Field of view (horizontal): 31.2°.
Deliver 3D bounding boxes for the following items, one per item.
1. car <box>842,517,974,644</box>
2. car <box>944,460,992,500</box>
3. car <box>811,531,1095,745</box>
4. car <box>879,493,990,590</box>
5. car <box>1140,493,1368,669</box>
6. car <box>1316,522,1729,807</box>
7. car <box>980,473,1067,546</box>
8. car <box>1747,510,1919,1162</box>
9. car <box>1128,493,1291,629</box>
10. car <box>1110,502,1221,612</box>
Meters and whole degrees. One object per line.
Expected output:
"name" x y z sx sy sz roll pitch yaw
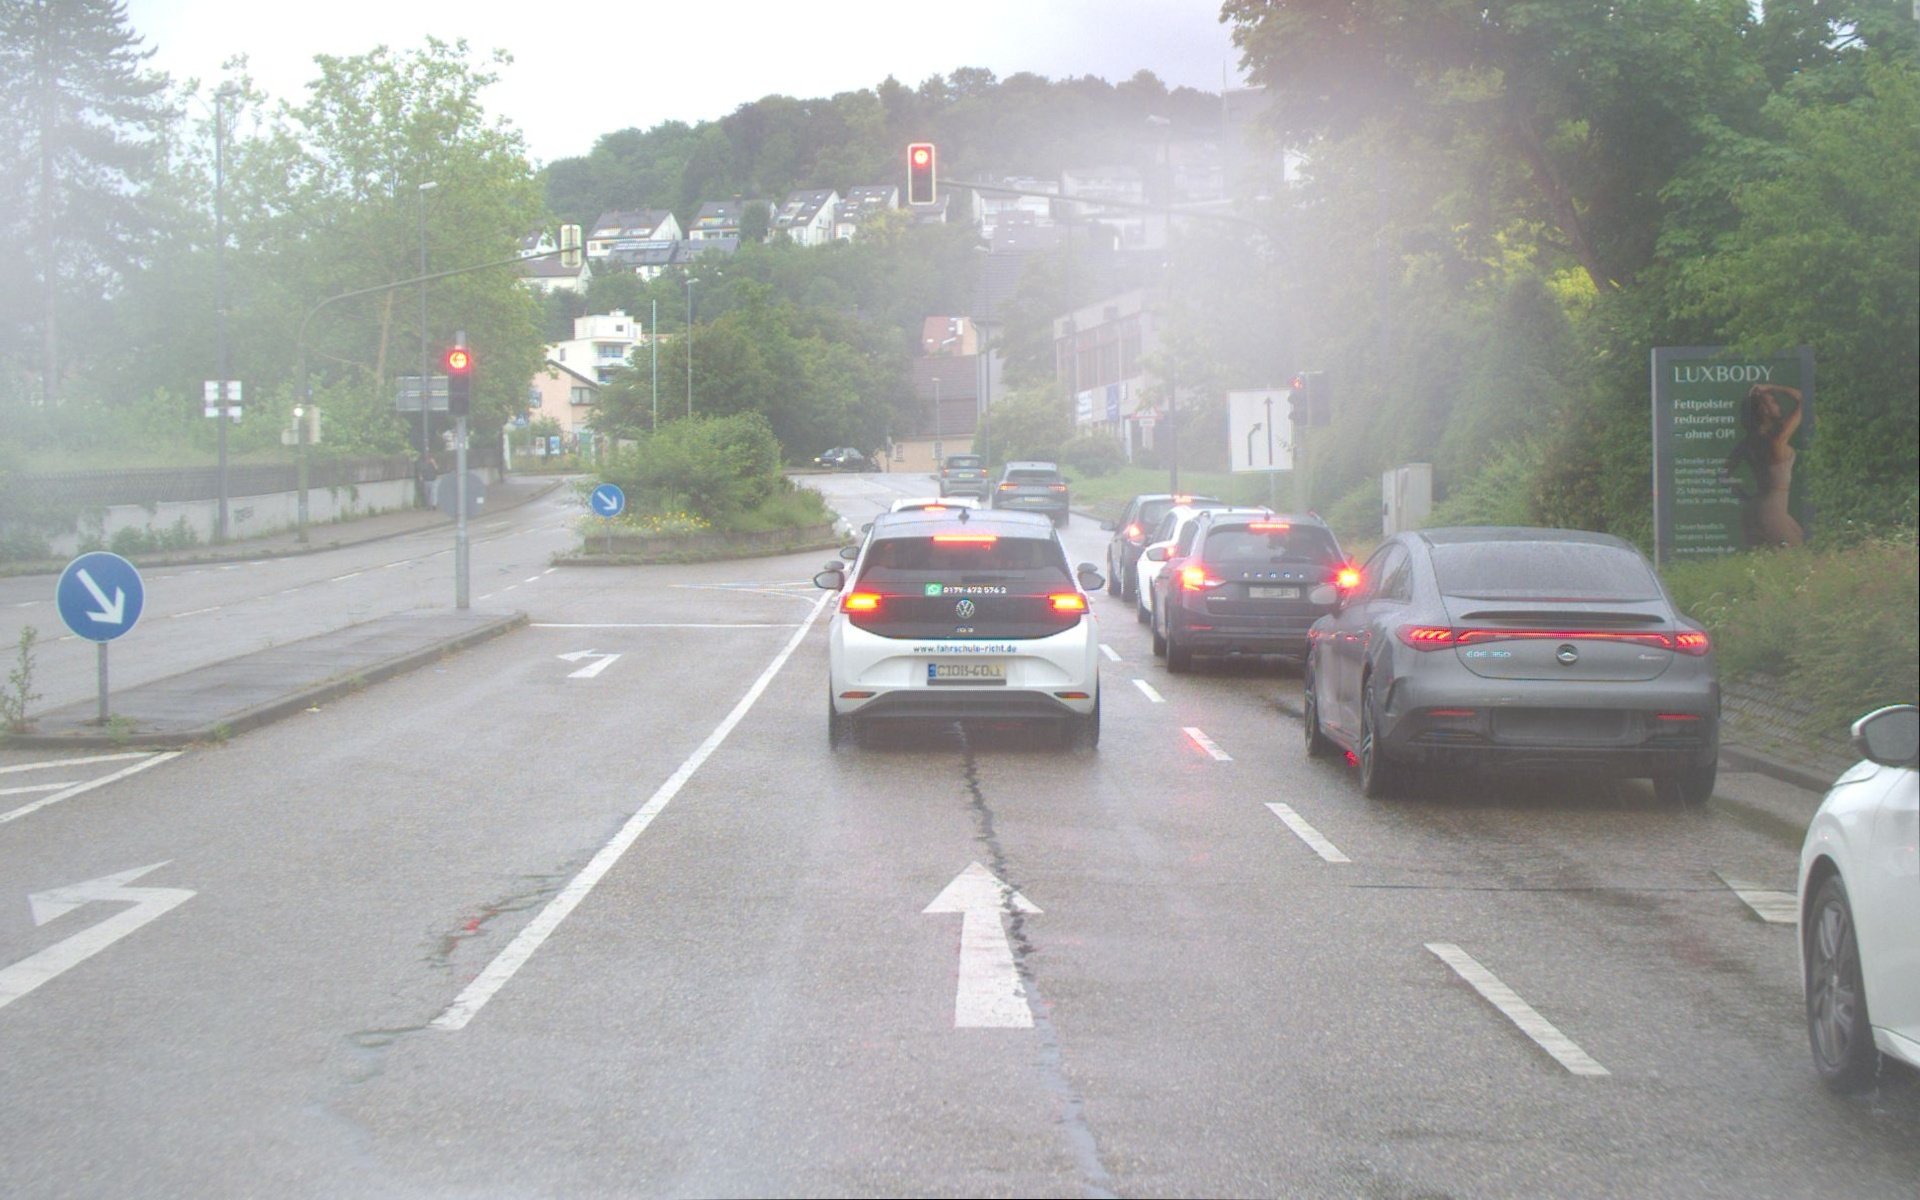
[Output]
"car" -0.537 -0.173 34.180 1.212 1.152 2.270 -2 -2 -3
"car" 0.251 -3.972 113.663 1.366 1.153 2.427 -2 -1 -4
"car" -0.056 0.255 23.251 1.741 1.291 3.334 -2 -1 0
"car" -0.339 -0.757 45.291 1.385 1.123 2.610 -2 -2 0
"car" 2.695 -0.139 32.142 1.647 1.480 3.366 -2 -2 -3
"car" 3.100 0.301 19.577 1.734 1.383 3.353 0 3 -1
"car" 1.554 -2.225 85.321 1.794 1.564 3.526 -2 -2 -4
"car" 3.125 0.585 7.918 1.691 1.514 3.934 0 3 0
"car" 2.885 -0.421 40.409 1.565 1.393 3.957 -2 -2 0
"car" 2.856 -0.621 48.204 1.315 1.392 3.079 -2 3 0
